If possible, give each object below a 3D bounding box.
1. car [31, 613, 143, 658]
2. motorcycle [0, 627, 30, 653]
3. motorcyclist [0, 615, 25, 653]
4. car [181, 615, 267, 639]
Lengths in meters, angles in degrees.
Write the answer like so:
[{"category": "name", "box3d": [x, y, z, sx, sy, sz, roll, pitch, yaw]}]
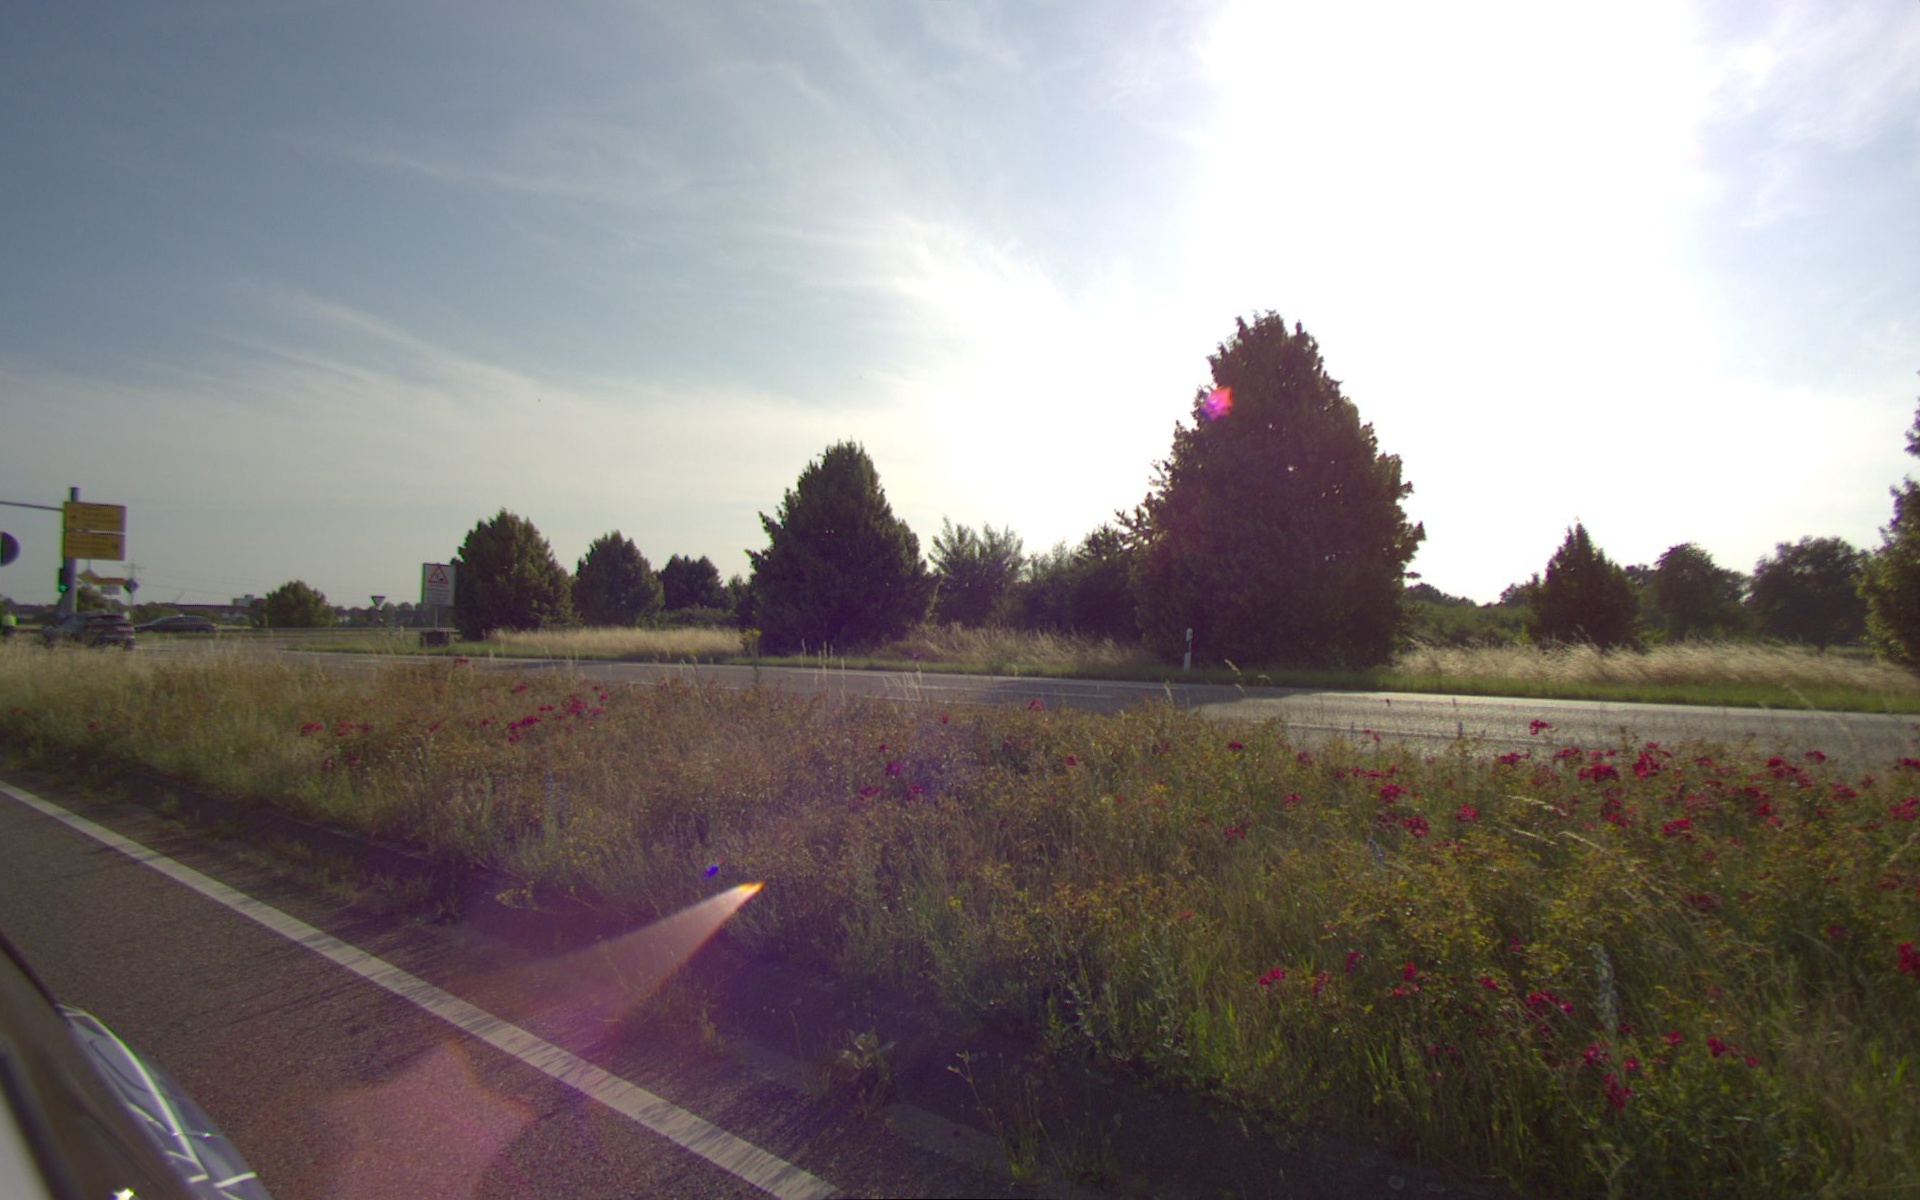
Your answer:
[{"category": "car", "box3d": [-33.277, 1.326, 38.537, 4.593, 1.577, 1.899, -1, -1, 31]}, {"category": "motorcycle", "box3d": [-41.718, 1.736, 44.362, 2.298, 1.101, 0.747, -1, 0, 30]}, {"category": "motorcyclist", "box3d": [-41.789, 1.480, 44.416, 1.244, 1.616, 0.747, -1, -1, 30]}, {"category": "car", "box3d": [-46.692, 1.689, 64.292, 1.947, 1.408, 3.969, -1, 0, 23]}]
